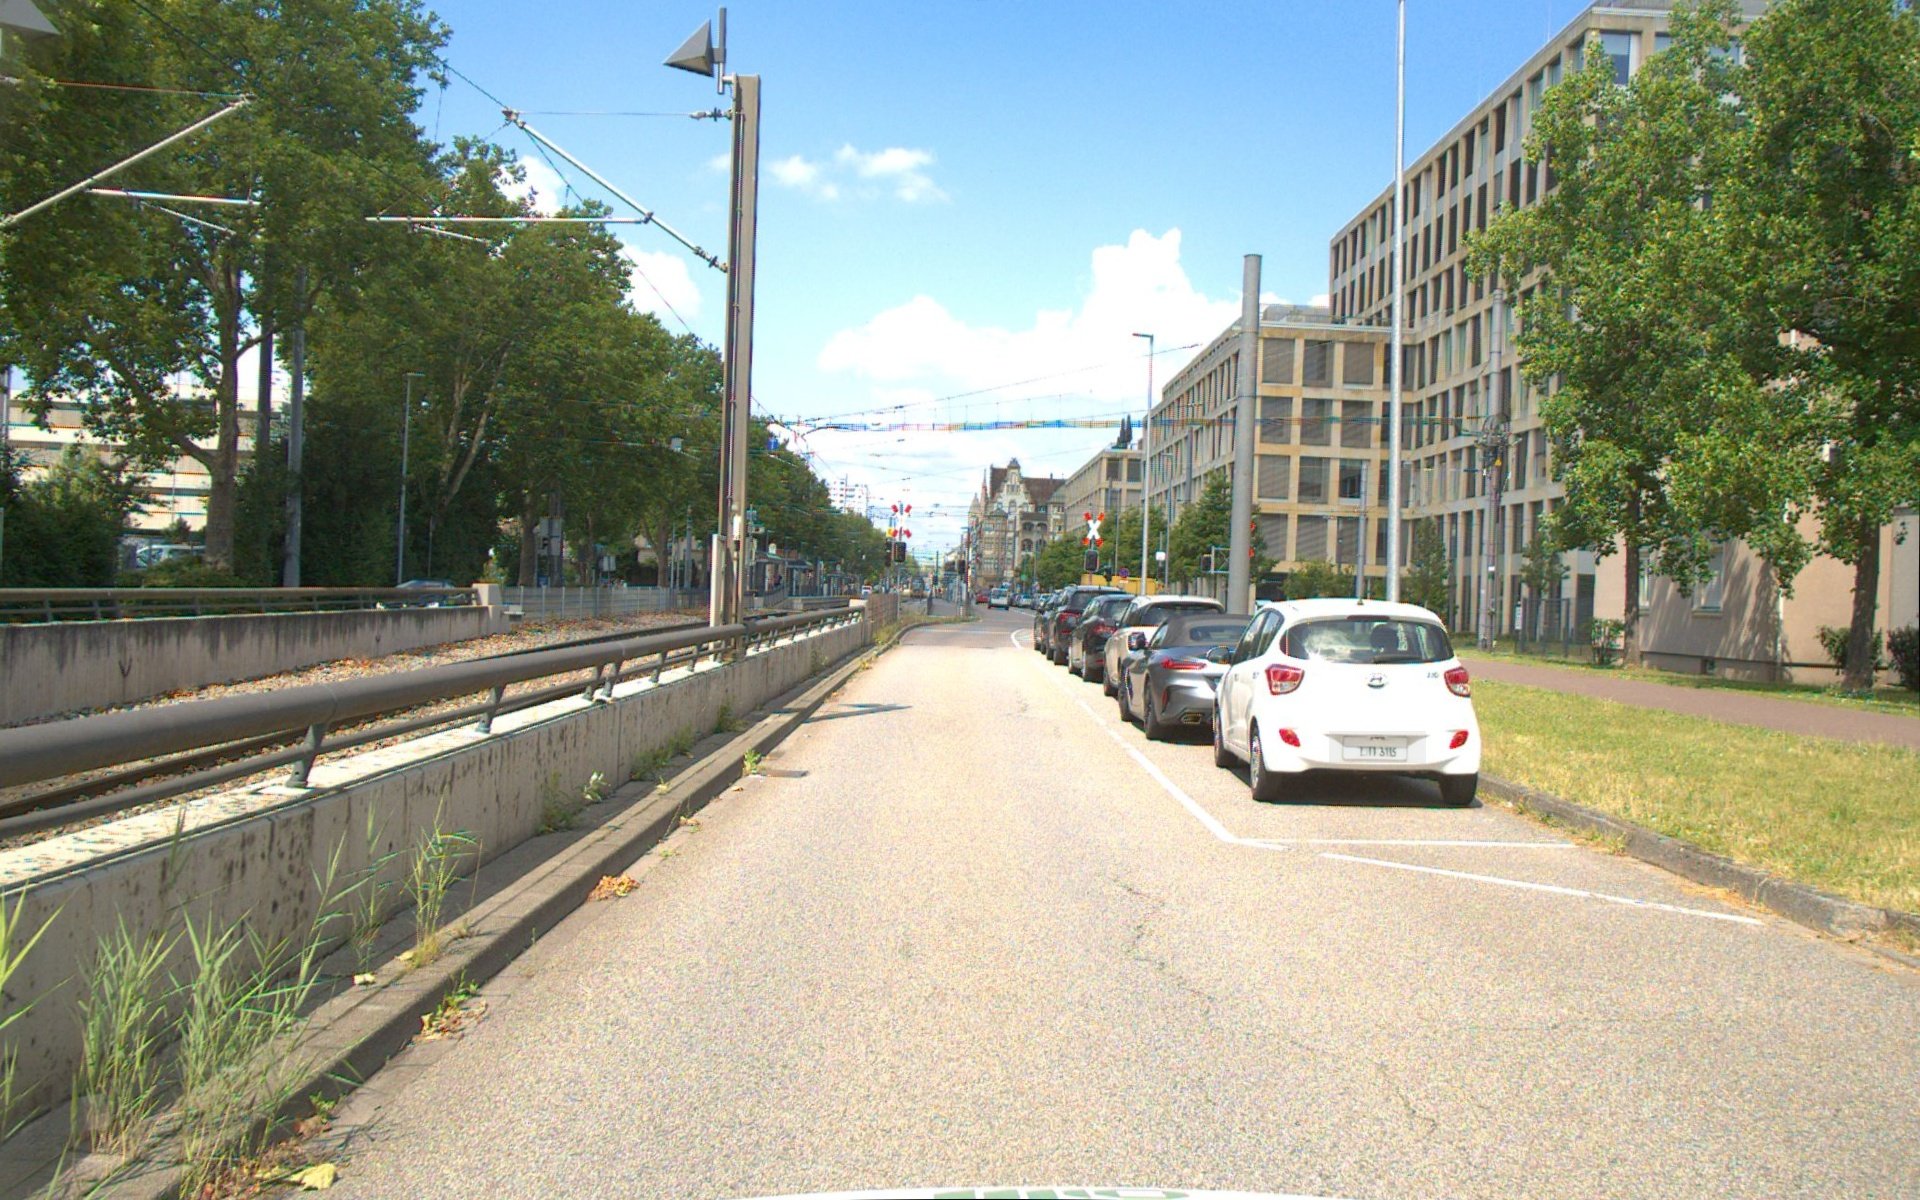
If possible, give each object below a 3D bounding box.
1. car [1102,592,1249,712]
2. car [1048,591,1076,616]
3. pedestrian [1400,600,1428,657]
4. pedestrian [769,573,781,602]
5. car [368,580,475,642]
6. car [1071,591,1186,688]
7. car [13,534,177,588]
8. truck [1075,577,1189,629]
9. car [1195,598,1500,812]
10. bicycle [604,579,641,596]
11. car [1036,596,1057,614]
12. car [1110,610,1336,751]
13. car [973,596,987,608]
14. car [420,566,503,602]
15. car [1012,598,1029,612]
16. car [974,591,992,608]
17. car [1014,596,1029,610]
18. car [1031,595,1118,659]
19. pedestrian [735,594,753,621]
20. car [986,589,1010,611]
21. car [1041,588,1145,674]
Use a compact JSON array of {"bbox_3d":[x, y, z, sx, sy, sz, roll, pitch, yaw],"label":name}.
[{"bbox_3d":[2.970,0.668,23.483,1.635,1.541,3.851,1,0,1],"label":"car"},{"bbox_3d":[8.243,0.273,133.886,1.843,1.973,4.842,1,0,-1],"label":"car"},{"bbox_3d":[13.195,0.814,48.119,0.610,1.636,0.624,1,0,-3],"label":"pedestrian"},{"bbox_3d":[-12.157,-0.803,108.922,0.692,1.877,0.864,1,0,-2],"label":"pedestrian"},{"bbox_3d":[-15.133,0.277,46.715,1.633,1.624,4.297,1,1,-1],"label":"car"},{"bbox_3d":[2.903,0.643,29.249,1.610,1.557,4.442,1,0,1],"label":"car"},{"bbox_3d":[-26.396,-1.167,50.576,3.906,1.467,2.000,2,0,0],"label":"car"},{"bbox_3d":[10.614,0.194,102.568,6.670,2.917,2.453,2,0,-3],"label":"truck"},{"bbox_3d":[3.042,0.752,13.745,1.672,1.505,3.790,1,0,1],"label":"car"},{"bbox_3d":[-29.003,-1.092,142.037,2.976,1.187,0.634,5,0,4],"label":"bicycle"},{"bbox_3d":[8.050,0.446,154.845,1.651,1.634,4.151,1,0,-1],"label":"car"},{"bbox_3d":[2.845,0.822,18.815,1.787,1.334,4.442,1,0,-1],"label":"car"},{"bbox_3d":[2.400,0.222,195.522,1.414,1.496,4.090,0,0,-3],"label":"car"},{"bbox_3d":[-26.571,-0.858,88.268,3.908,1.780,1.802,2,0,-4],"label":"car"},{"bbox_3d":[7.236,0.571,198.773,1.560,1.459,4.105,4,0,-3],"label":"car"},{"bbox_3d":[2.712,-0.037,195.393,1.953,2.049,3.999,1,0,-1],"label":"car"},{"bbox_3d":[6.948,0.355,187.641,1.559,1.485,3.613,4,0,0],"label":"car"},{"bbox_3d":[2.868,0.638,42.377,1.779,1.479,4.990,1,1,-1],"label":"car"},{"bbox_3d":[-10.933,0.375,83.660,0.845,1.367,0.922,1,0,-4],"label":"pedestrian"},{"bbox_3d":[3.290,0.012,144.026,1.831,1.777,3.999,3,0,-1],"label":"car"},{"bbox_3d":[2.803,0.615,35.728,1.779,1.691,4.670,1,1,-1],"label":"car"}]
